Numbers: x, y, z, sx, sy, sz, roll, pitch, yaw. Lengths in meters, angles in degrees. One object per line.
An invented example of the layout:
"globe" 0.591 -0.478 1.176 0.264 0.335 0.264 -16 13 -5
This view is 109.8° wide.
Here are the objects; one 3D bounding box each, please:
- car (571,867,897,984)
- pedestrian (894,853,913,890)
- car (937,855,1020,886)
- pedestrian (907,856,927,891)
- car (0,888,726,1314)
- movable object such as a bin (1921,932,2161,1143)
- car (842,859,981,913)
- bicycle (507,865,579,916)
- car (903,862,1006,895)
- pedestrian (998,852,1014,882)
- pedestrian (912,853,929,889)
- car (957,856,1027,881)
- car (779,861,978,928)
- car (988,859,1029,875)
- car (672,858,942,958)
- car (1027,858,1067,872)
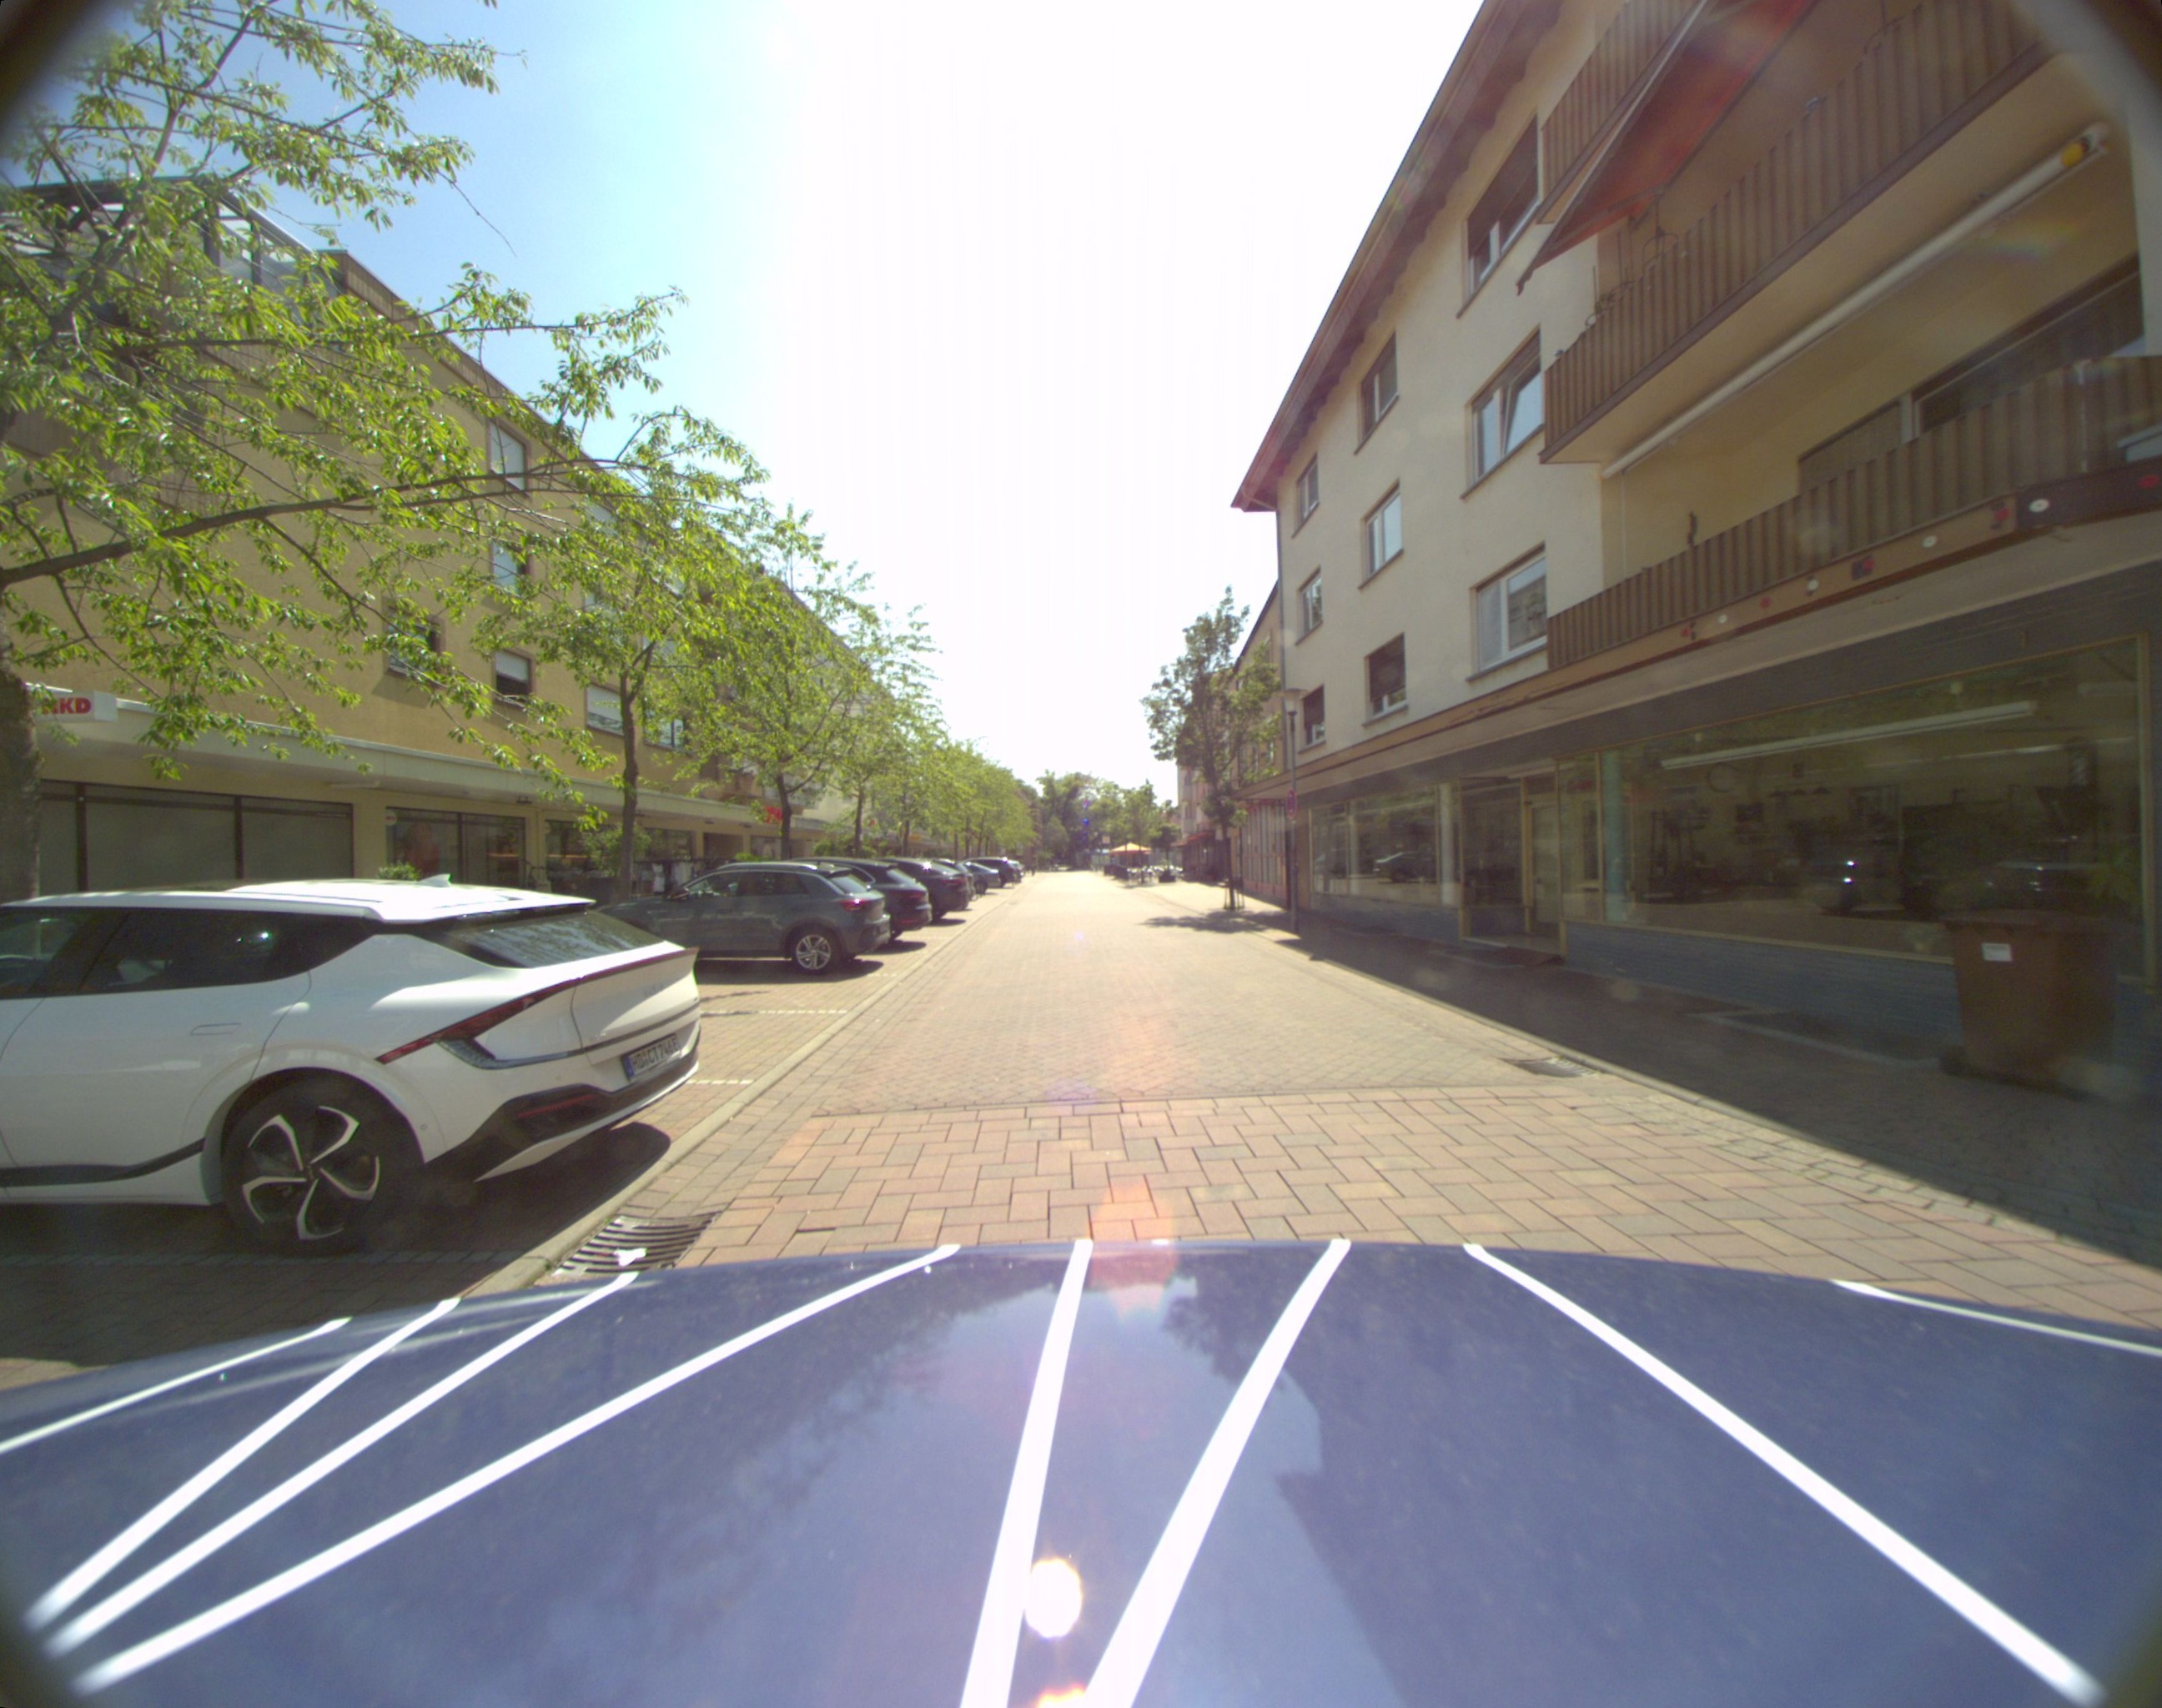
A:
"car" -4.896 0.996 11.187 3.955 1.525 1.823 1 0 -3
"pedestrian" -8.649 0.849 37.079 0.633 1.763 0.685 -2 1 -39
"car" -5.490 0.888 41.065 4.255 1.608 1.756 0 0 -2
"pedestrian" -8.338 0.974 38.608 0.614 1.721 0.649 -1 1 33
"car" -4.445 1.007 3.836 4.452 1.566 1.788 0 0 -1
"movable object such as a bin" 5.731 1.049 4.554 0.657 1.064 0.663 -2 1 -8
"car" -5.281 0.985 24.005 4.038 1.603 1.680 1 1 -3
"bicycle" -12.992 0.853 18.412 0.413 1.117 1.774 -2 1 0
"car" -5.845 1.082 34.970 4.391 1.455 1.887 0 0 -20
"pedestrian" -4.465 0.766 45.111 0.759 1.770 0.870 -1 1 6
"pedestrian" -7.959 0.838 37.571 0.607 1.785 0.626 -2 1 -29
"car" -6.084 0.981 52.218 4.586 1.534 1.806 -1 0 -1
"car" -4.983 0.980 19.144 4.519 1.579 1.850 0 0 1
"car" -6.167 1.095 65.051 3.401 1.382 1.460 0 0 -1
"car" -4.857 0.922 14.040 4.291 1.671 2.000 0 0 -3
"car" -3.872 1.199 86.385 4.336 1.459 1.777 -2 0 2
